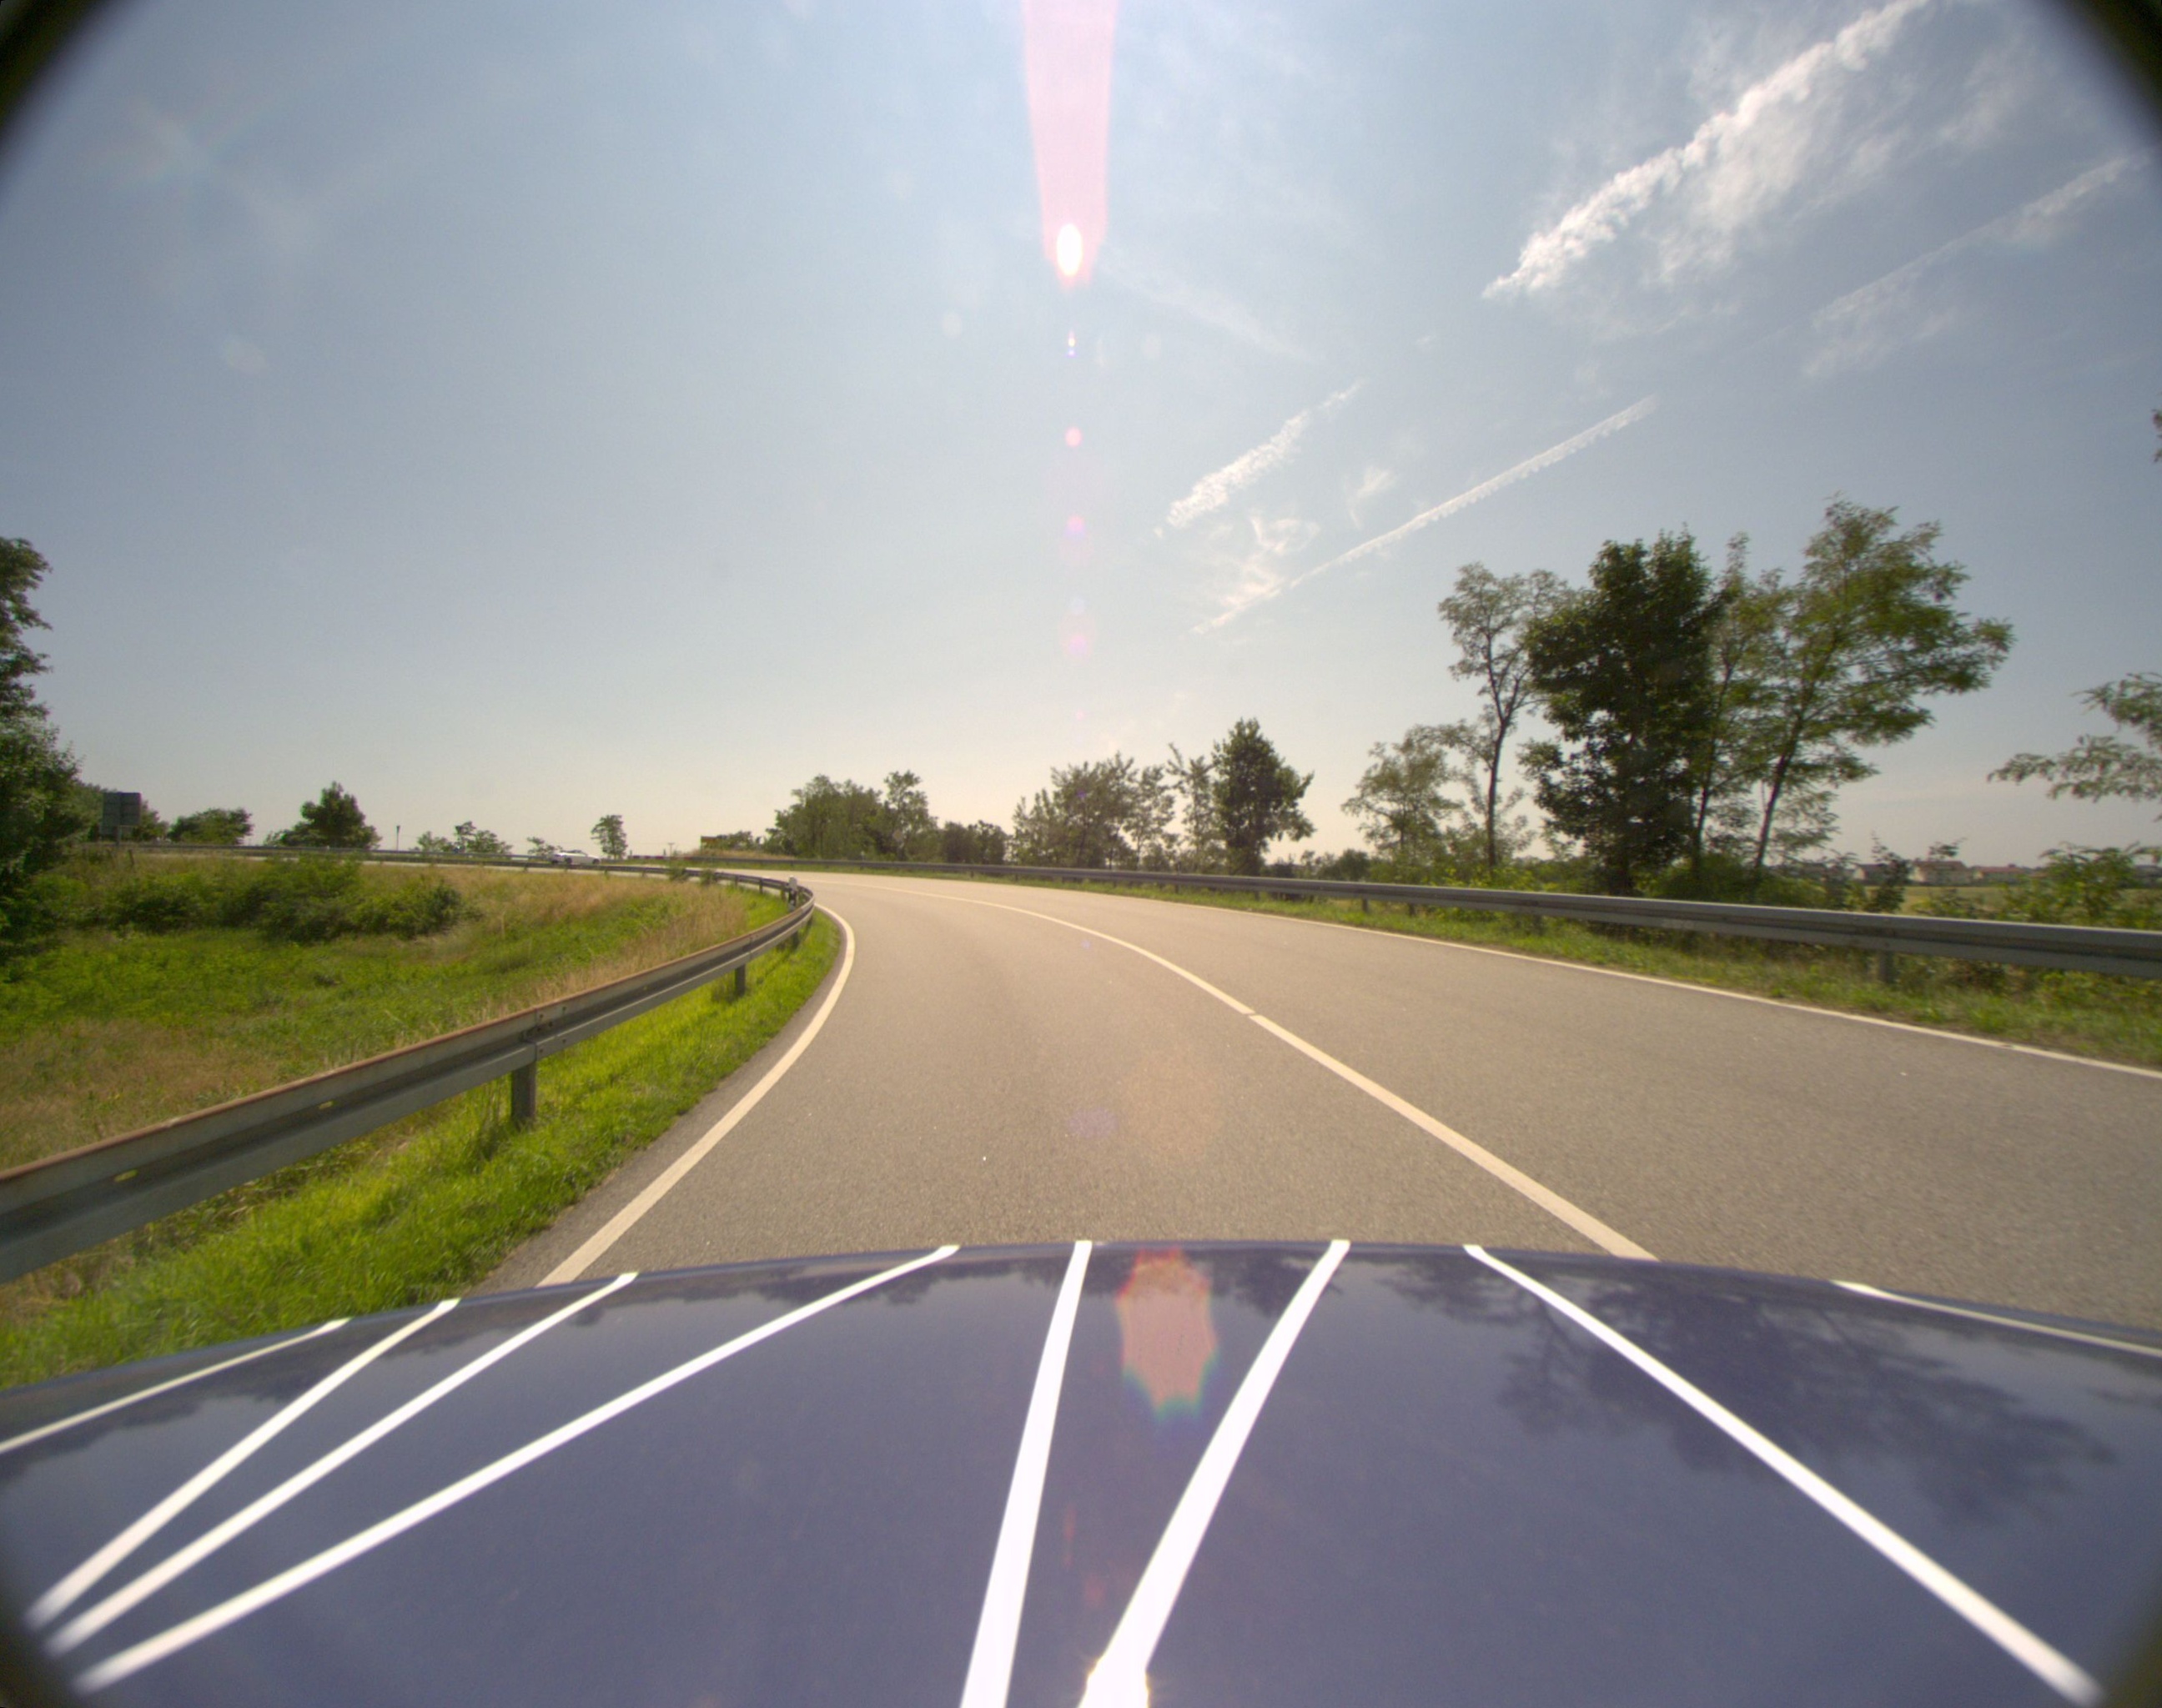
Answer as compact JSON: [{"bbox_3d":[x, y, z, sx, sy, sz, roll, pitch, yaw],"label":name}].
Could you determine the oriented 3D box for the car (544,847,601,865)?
[{"bbox_3d":[-47.322,0.183,70.756,1.811,1.406,4.118,-4,-3,19],"label":"car"}]

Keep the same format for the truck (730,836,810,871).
[{"bbox_3d":[-38.855,0.017,95.349,2.815,3.645,9.971,-3,-5,25],"label":"truck"}]
